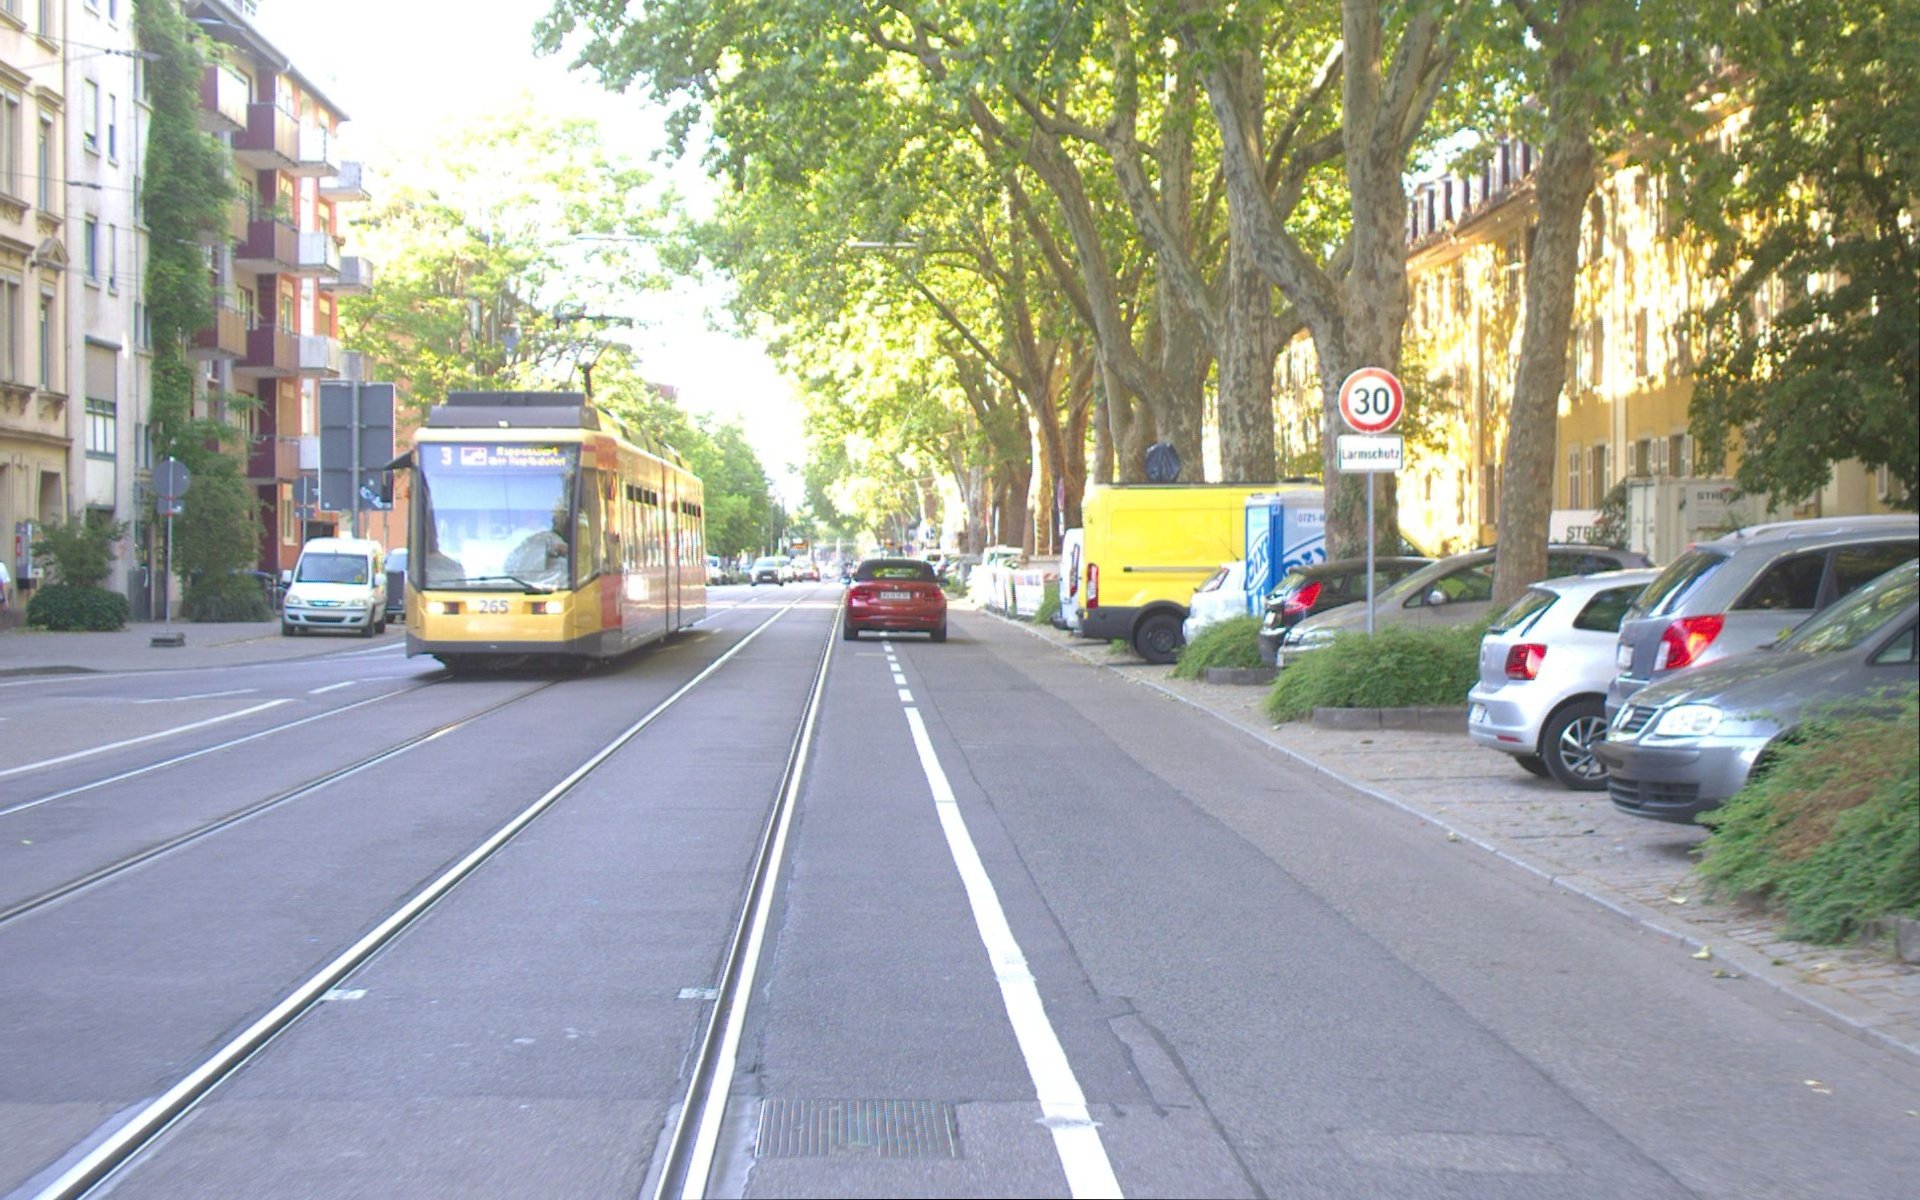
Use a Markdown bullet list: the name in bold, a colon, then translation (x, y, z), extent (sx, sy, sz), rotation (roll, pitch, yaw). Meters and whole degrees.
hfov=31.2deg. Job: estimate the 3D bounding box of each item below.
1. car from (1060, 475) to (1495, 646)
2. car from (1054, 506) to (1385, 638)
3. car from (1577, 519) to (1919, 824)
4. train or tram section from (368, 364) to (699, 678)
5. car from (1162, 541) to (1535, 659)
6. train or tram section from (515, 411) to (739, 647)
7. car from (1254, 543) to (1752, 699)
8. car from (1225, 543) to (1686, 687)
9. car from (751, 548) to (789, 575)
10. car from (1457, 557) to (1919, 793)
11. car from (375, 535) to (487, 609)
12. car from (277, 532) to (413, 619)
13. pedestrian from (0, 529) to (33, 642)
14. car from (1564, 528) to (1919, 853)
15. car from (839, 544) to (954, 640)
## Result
- **car**: translation (4.426, -0.565, 48.565), extent (5.945, 2.358, 2.061), rotation (0, 1, 0)
- **car**: translation (4.343, -0.477, 58.228), extent (5.442, 2.184, 2.061), rotation (0, 1, 0)
- **car**: translation (6.201, 0.379, 20.393), extent (4.712, 1.716, 1.920), rotation (0, 1, -1)
- **train or tram section**: translation (-5.430, -1.015, 46.318), extent (2.861, 3.625, 13.199), rotation (0, 1, 0)
- **car**: translation (5.159, -0.020, 46.024), extent (4.711, 1.528, 1.920), rotation (0, 1, -3)
- **train or tram section**: translation (-5.534, -1.186, 59.310), extent (2.832, 3.625, 12.818), rotation (0, 1, -1)
- **car**: translation (5.486, 0.192, 35.098), extent (4.711, 1.528, 1.920), rotation (0, 1, -3)
- **car**: translation (5.386, 0.143, 37.756), extent (4.711, 1.528, 1.920), rotation (0, 1, -4)
- **car**: translation (-10.912, -2.199, 196.946), extent (1.993, 1.504, 4.001), rotation (0, 1, -6)
- **car**: translation (5.927, 0.476, 23.631), extent (4.712, 1.528, 1.920), rotation (0, 1, -1)
- **car**: translation (-11.460, -0.629, 74.698), extent (1.893, 1.559, 4.393), rotation (0, 1, -2)
- **car**: translation (-11.427, -0.474, 64.112), extent (1.893, 1.559, 4.393), rotation (0, 1, -2)
- **pedestrian**: translation (-13.948, -0.214, 49.587), extent (0.892, 1.619, 1.034), rotation (0, 1, -1)
- **car**: translation (5.687, 0.424, 17.943), extent (4.712, 1.596, 1.920), rotation (0, 1, 0)
- **car**: translation (-1.096, -0.136, 59.884), extent (1.893, 1.559, 4.393), rotation (-2, 0, -1)
